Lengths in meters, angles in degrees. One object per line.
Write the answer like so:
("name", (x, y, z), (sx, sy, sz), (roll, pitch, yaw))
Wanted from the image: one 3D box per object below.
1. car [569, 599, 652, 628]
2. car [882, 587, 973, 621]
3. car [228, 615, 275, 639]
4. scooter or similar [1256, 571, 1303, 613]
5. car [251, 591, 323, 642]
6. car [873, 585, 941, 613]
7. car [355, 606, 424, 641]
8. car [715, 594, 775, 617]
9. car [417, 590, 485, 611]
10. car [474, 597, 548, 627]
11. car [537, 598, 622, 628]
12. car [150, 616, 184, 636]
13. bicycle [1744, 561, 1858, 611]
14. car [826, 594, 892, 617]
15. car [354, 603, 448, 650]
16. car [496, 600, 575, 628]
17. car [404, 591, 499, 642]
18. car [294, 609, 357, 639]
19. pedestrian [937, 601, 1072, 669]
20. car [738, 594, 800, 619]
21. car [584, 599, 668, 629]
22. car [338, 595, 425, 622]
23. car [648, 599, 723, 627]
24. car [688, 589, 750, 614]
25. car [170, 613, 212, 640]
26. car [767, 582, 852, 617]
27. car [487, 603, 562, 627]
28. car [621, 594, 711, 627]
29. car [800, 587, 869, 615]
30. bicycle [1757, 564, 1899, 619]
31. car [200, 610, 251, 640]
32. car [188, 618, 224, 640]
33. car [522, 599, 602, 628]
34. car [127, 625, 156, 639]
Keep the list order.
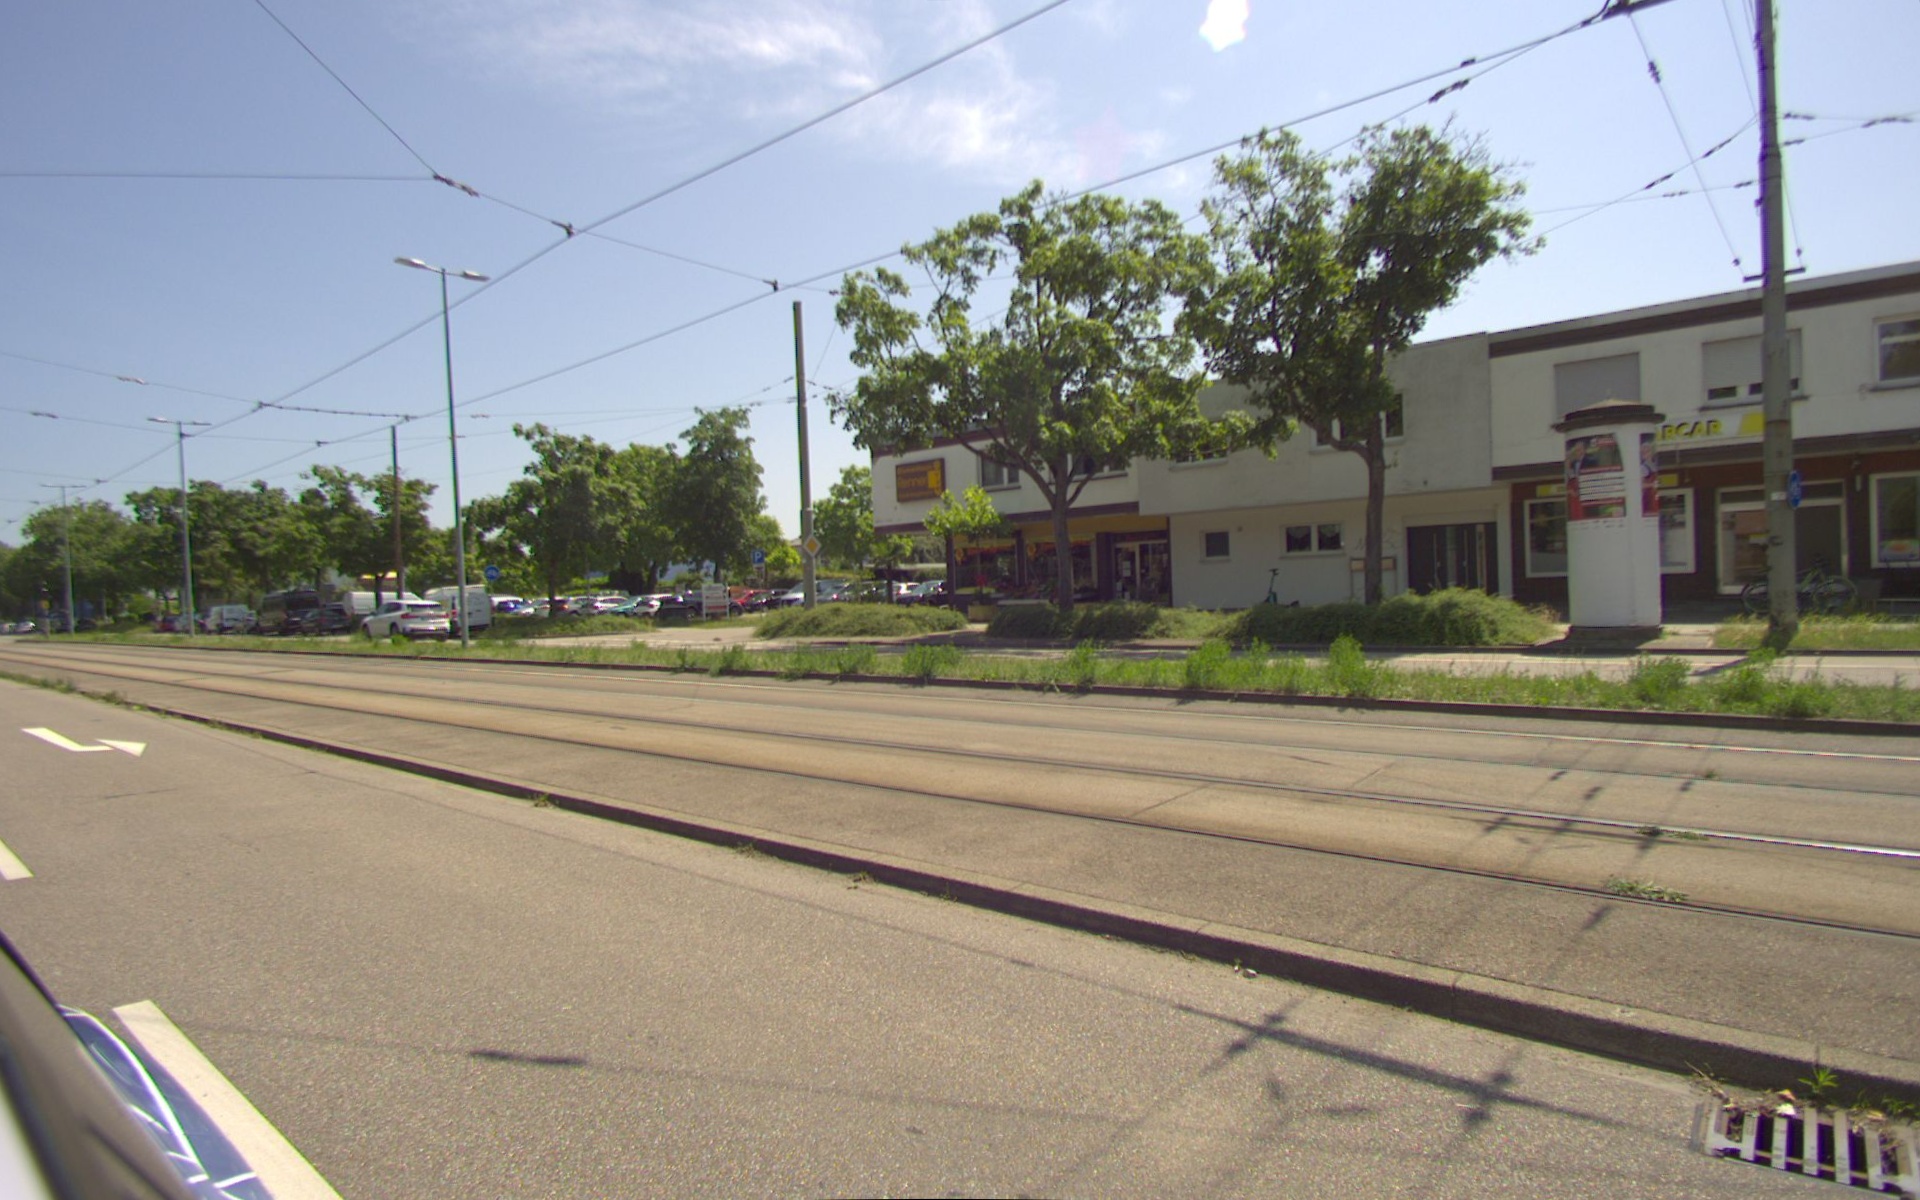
("car", (-19.365, 0.718, 56.189), (1.855, 1.501, 4.099), (-1, 0, 34))
("car", (-1.401, 0.146, 44.837), (1.682, 1.306, 3.944), (-3, 0, 42))
("car", (-45.728, 1.737, 65.336), (3.608, 1.475, 1.744), (-1, 0, 42))
("scooter or similar", (9.259, -0.221, 29.395), (0.448, 1.200, 1.349), (-1, 0, -29))
("car", (-39.845, 0.969, 59.857), (5.666, 2.859, 2.214), (-1, 0, 42))
("car", (-3.056, -0.068, 59.100), (1.661, 1.531, 3.943), (-1, 0, 43))
("car", (-28.096, 1.140, 49.812), (4.124, 1.513, 1.633), (-1, 4, 42))
("car", (-14.770, 0.360, 69.571), (1.712, 1.505, 3.953), (-1, 0, 35))
("car", (-50.569, 0.043, 100.717), (2.145, 2.078, 5.674), (-1, 0, 38))
("car", (-28.906, 0.756, 65.277), (1.794, 1.730, 3.951), (-2, 1, 37))
("car", (-21.517, 0.735, 57.376), (2.018, 1.501, 4.117), (-2, 1, 34))
("car", (-62.755, 2.019, 80.081), (3.423, 1.491, 1.561), (-1, 0, 43))
("bicycle", (17.119, -0.274, 20.637), (1.758, 0.986, 0.533), (-1, 0, 41))
("car", (-5.953, 0.299, 60.083), (1.764, 1.294, 3.675), (-1, 0, 43))
("car", (-20.975, 0.950, 37.873), (4.569, 1.622, 1.705), (-1, 0, 43))
("car", (-25.500, 0.804, 60.908), (1.862, 1.499, 3.955), (-2, 1, 34))
("car", (-22.809, 0.749, 45.308), (5.342, 2.025, 1.856), (-1, 4, 42))
("car", (-34.973, 1.301, 55.750), (3.751, 1.589, 1.950), (-1, 0, 42))
("pedestrian", (1.398, 1.077, 32.817), (3.997, 2.029, 1.973), (-1, 0, 41))
("car", (-12.690, 0.415, 67.385), (1.683, 1.597, 3.948), (-1, 0, 39))
("car", (-17.835, 0.729, 54.192), (1.908, 1.501, 3.995), (-1, 0, 34))
("car", (-44.003, 0.616, 77.042), (2.029, 1.970, 5.363), (-1, 0, 42))
("car", (-13.773, 0.642, 50.868), (1.639, 1.241, 3.385), (-2, 1, 34))
("car", (-16.817, 0.076, 70.690), (1.689, 1.665, 4.082), (-2, 0, 35))
("car", (-57.763, 1.977, 76.005), (4.495, 1.907, 1.614), (-1, 0, 41))
("car", (-9.457, -0.041, 63.888), (2.225, 2.085, 5.055), (-1, 0, 41))
("car", (-27.176, 0.938, 63.200), (1.794, 1.417, 3.950), (-2, -1, 37))
("car", (-15.343, 0.538, 52.996), (1.983, 1.501, 4.120), (-2, 1, 39))
("car", (-7.677, 0.061, 62.238), (1.804, 1.669, 3.943), (-1, 0, 43))
("bicycle", (16.537, -0.148, 19.336), (2.028, 0.986, 0.604), (-1, 0, 41))
("car", (-50.178, 1.691, 69.137), (4.816, 1.963, 1.899), (-1, 0, 42))
("car", (-54.198, 2.086, 72.729), (3.261, 1.489, 1.411), (-1, 0, 41))
("car", (-23.388, 0.766, 59.547), (1.827, 1.501, 4.030), (-2, 1, 34))
("car", (-71.549, 2.765, 88.442), (3.423, 1.167, 1.561), (-1, 0, 43))
